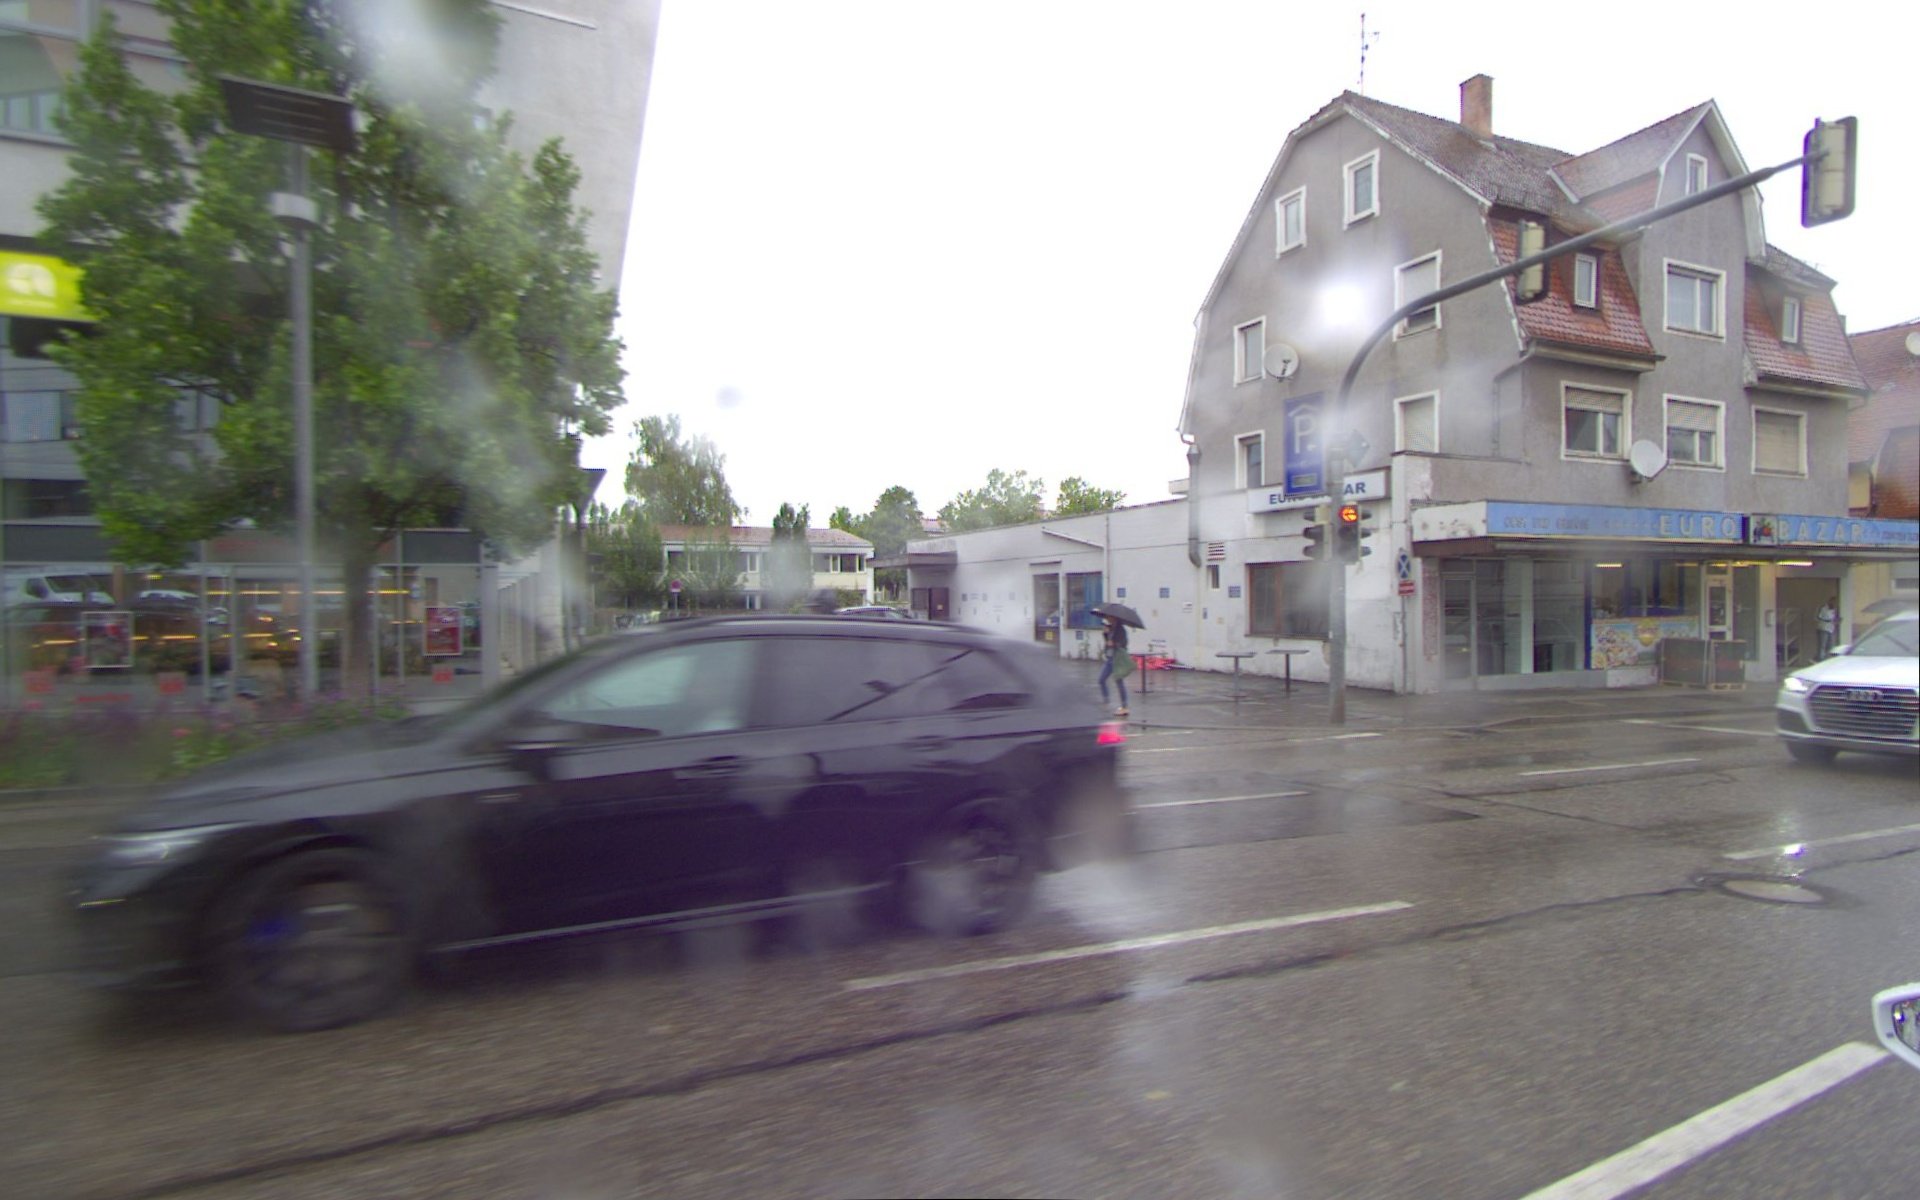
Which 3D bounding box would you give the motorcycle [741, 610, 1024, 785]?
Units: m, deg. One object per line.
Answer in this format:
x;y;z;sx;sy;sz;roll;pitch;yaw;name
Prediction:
-0.632;0.768;8.385;2.157;1.300;0.904;2;-1;-27;motorcycle

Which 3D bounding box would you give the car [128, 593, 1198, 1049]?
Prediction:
-1.092;0.785;4.982;4.324;1.453;1.752;2;-2;-27;car

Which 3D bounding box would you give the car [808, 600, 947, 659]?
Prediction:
-2.659;0.960;32.445;4.104;1.778;1.747;2;-1;-23;car

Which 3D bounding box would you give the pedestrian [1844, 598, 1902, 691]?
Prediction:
19.773;0.947;21.754;0.937;1.947;0.656;2;1;-35;pedestrian

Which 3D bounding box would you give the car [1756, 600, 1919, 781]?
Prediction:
11.120;0.945;11.028;4.791;1.735;2.089;2;-2;-29;car

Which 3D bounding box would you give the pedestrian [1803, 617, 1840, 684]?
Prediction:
20.699;1.211;24.146;0.440;1.578;0.541;2;-1;-26;pedestrian

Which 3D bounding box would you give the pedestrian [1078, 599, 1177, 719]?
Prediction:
2.649;0.909;15.880;1.219;1.812;0.921;2;-1;-28;pedestrian

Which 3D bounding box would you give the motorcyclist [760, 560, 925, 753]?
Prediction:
-0.974;0.453;8.283;1.125;1.475;0.782;2;-1;-27;motorcyclist
